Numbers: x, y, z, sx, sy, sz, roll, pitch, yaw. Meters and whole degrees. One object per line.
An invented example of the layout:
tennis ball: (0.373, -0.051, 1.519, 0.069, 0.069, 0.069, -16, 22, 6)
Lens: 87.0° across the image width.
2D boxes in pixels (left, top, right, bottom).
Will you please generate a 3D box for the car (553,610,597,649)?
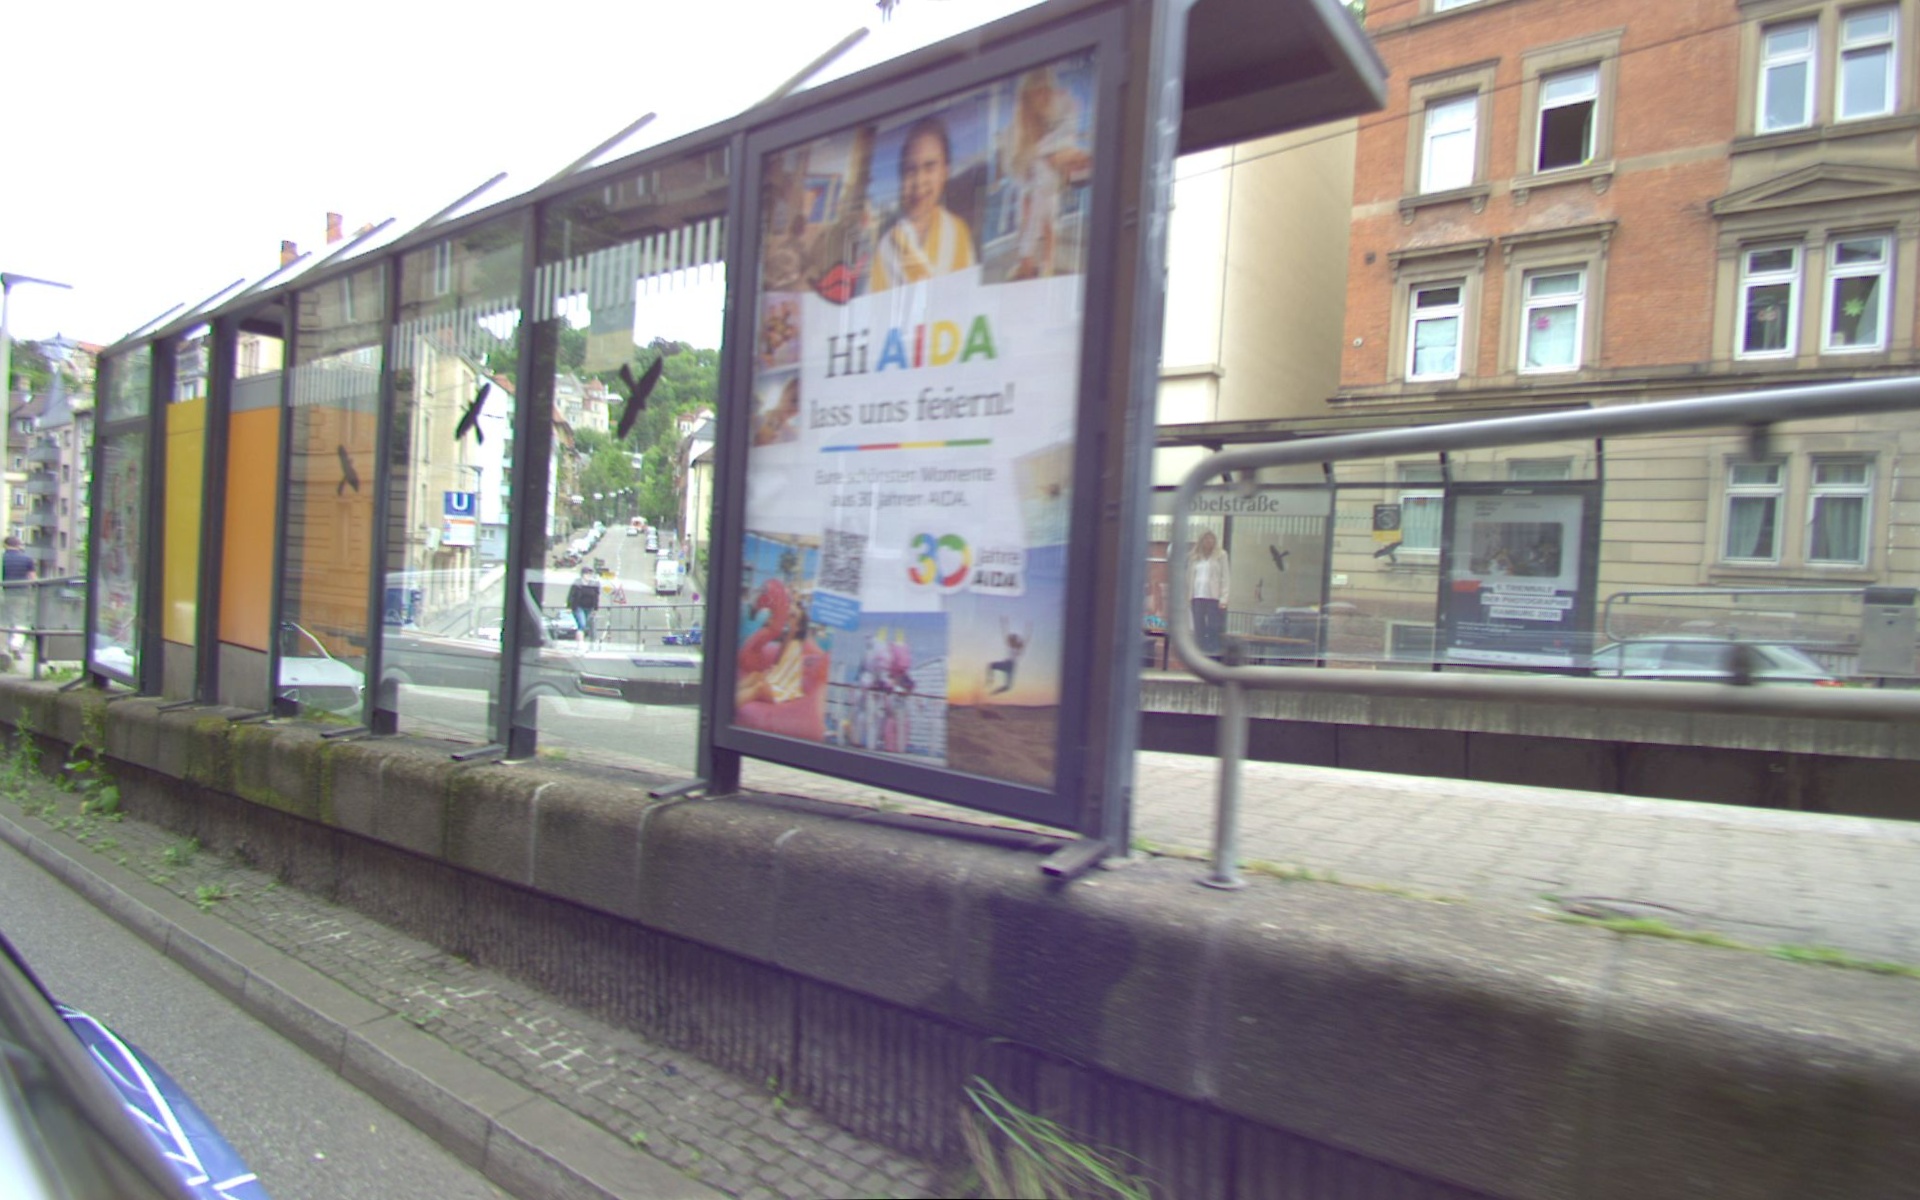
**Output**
car: (-20.696, 1.552, 54.527, 1.966, 1.687, 4.014, 0, 4, -17)

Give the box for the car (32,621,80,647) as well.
car: (-63.238, 2.366, 70.786, 4.376, 1.796, 1.827, -1, -2, 40)

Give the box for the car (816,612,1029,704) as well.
car: (-0.855, 1.159, 21.343, 4.374, 1.747, 1.828, -1, -2, 38)

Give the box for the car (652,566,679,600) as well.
car: (-24.336, -1.459, 83.531, 1.966, 2.495, 4.014, 0, 5, -18)

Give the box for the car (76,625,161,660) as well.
car: (-36.732, 1.830, 44.139, 4.372, 1.457, 1.829, -1, -2, 36)

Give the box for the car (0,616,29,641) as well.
car: (-78.317, 2.345, 83.331, 4.045, 1.989, 1.828, -1, -2, 38)

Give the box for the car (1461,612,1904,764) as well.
car: (9.128, 1.004, 13.186, 4.407, 1.658, 1.845, -1, -2, 37)

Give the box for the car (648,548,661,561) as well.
car: (-39.510, -5.915, 130.794, 1.619, 1.453, 3.321, 0, 5, -18)

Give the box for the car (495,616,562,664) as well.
car: (-16.546, 1.503, 38.990, 1.820, 1.747, 4.393, 0, -2, -16)

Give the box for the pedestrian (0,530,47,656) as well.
pedestrian: (-13.450, -0.086, 14.239, 0.765, 1.728, 0.758, -1, -2, 38)

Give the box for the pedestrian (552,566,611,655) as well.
pedestrian: (-7.454, 0.219, 19.932, 0.842, 1.701, 0.758, -1, -2, 38)

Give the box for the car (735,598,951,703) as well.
car: (-2.242, 0.893, 18.948, 3.857, 1.778, 1.806, -1, -2, 37)

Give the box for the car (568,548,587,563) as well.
car: (-45.800, -5.348, 121.227, 1.910, 1.650, 4.014, 0, 5, -18)
